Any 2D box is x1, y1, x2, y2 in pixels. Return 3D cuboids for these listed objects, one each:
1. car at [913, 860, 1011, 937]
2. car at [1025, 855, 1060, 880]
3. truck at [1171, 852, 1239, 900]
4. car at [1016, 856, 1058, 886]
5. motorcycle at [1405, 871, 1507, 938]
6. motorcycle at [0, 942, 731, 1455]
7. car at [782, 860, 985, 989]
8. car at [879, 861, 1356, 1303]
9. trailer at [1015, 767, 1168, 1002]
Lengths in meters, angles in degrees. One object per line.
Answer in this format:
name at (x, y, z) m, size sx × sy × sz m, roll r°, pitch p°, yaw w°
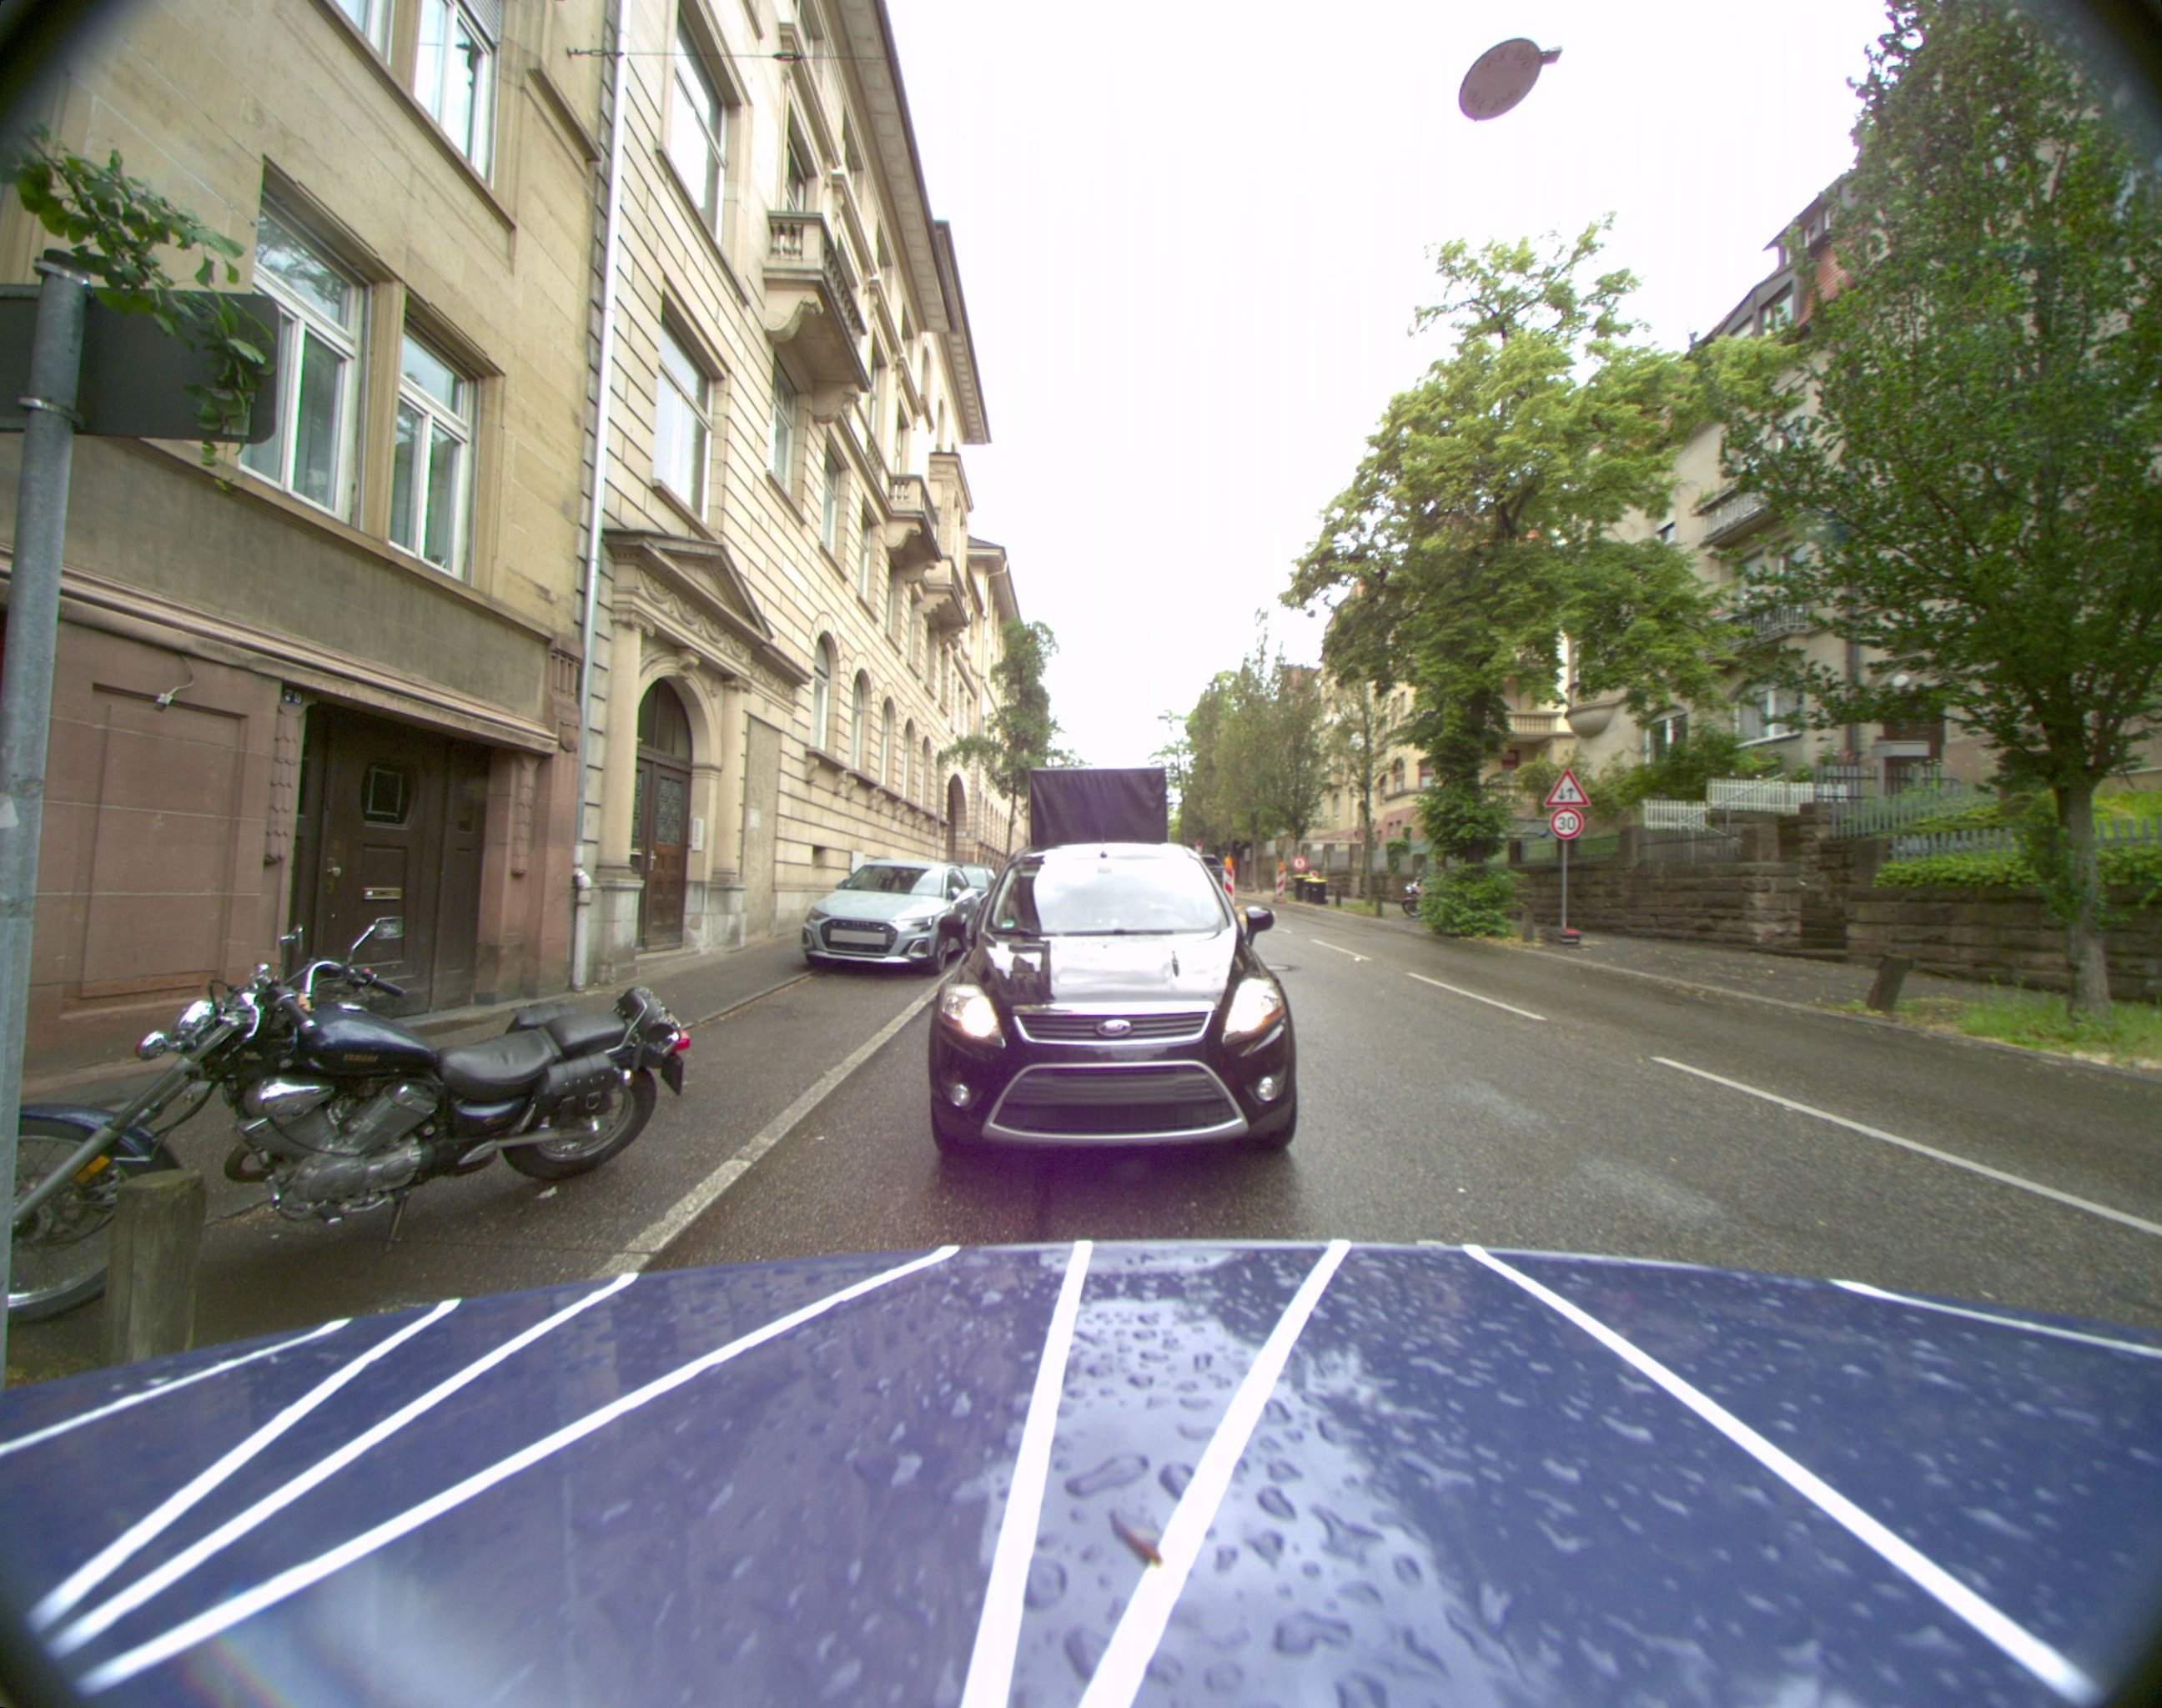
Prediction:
car at (-2.515, 0.901, 16.713) m, size 1.495 × 1.440 × 3.181 m, roll 3°, pitch 0°, yaw 1°
car at (-2.514, 0.889, 50.563) m, size 1.910 × 1.502 × 4.318 m, roll 3°, pitch 0°, yaw 1°
truck at (5.189, 0.880, 32.504) m, size 2.075 × 1.825 × 5.154 m, roll 2°, pitch 0°, yaw 1°
car at (-2.400, 0.903, 42.466) m, size 1.910 × 1.502 × 4.318 m, roll 3°, pitch 0°, yaw 1°
motorcycle at (8.892, 1.136, 18.204) m, size 0.802 × 1.406 × 3.061 m, roll -2°, pitch 0°, yaw -2°
motorcycle at (-2.560, 1.003, 2.742) m, size 0.523 × 1.236 × 2.282 m, roll 3°, pitch -1°, yaw 39°
car at (-2.655, 0.873, 11.254) m, size 1.794 × 1.444 × 4.039 m, roll 3°, pitch 0°, yaw 1°
car at (0.194, 0.895, 5.178) m, size 1.823 × 1.662 × 4.522 m, roll 0°, pitch 0°, yaw 1°
trailer at (0.124, 0.345, 11.307) m, size 1.783 × 2.744 × 4.816 m, roll 0°, pitch 1°, yaw 0°
